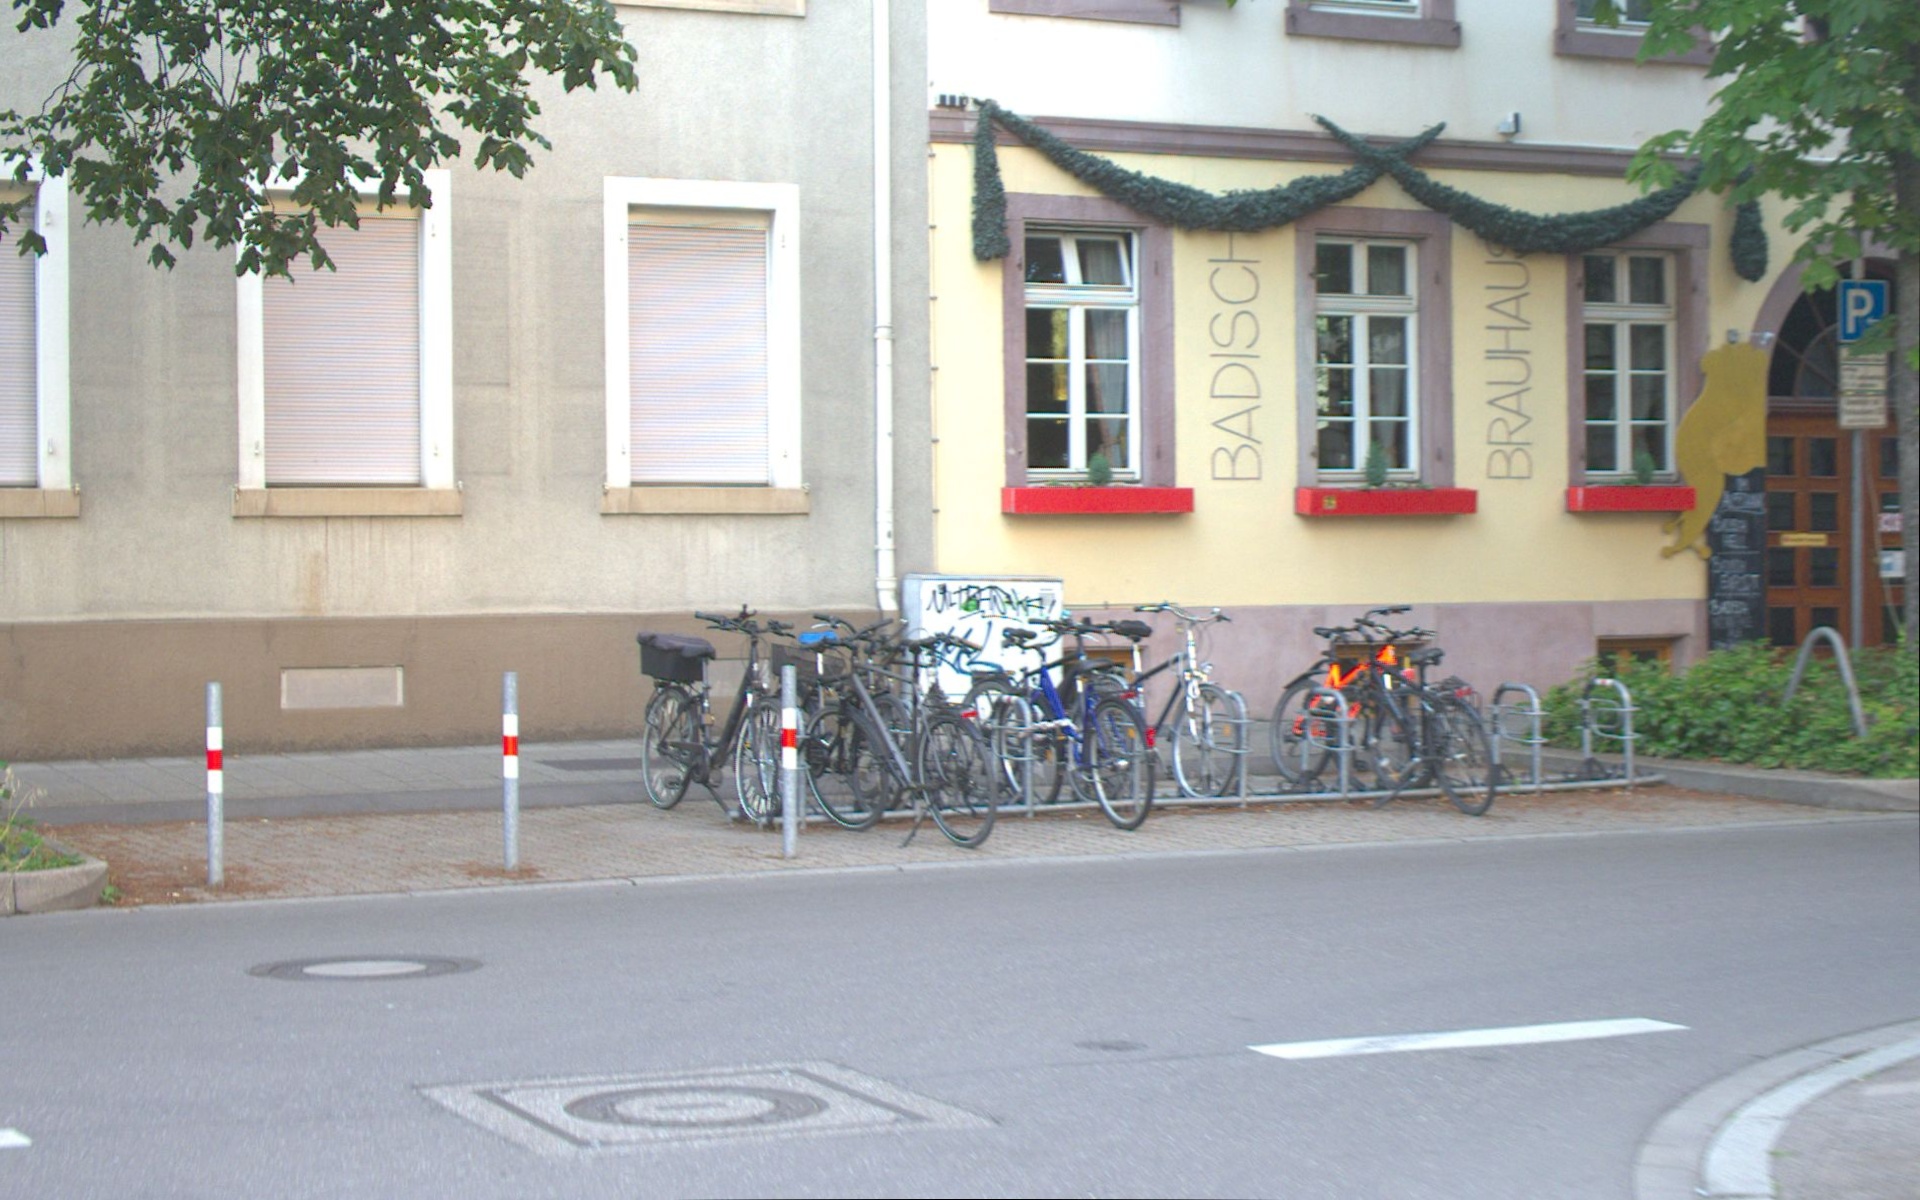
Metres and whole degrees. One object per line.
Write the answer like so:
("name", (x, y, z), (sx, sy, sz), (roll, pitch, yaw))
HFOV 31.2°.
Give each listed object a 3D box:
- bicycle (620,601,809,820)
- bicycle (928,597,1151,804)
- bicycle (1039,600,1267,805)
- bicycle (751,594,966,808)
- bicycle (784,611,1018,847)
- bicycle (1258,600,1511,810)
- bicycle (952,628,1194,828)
("bicycle", (-1.419, 0.596, 19.524), (0.445, 1.141, 2.043), (-1, 1, -22))
("bicycle", (0.450, 0.571, 20.554), (0.420, 1.141, 2.043), (-1, 1, -26))
("bicycle", (1.141, 0.590, 20.800), (0.420, 1.141, 2.043), (-1, 1, -26))
("bicycle", (-0.612, 0.555, 19.939), (0.420, 1.141, 2.043), (-1, 1, -26))
("bicycle", (-0.340, 0.650, 18.266), (0.445, 1.141, 2.043), (-1, 1, -25))
("bicycle", (2.482, 0.590, 20.327), (0.420, 1.141, 2.043), (-1, 1, -26))
("bicycle", (0.603, 0.684, 19.133), (0.420, 1.000, 2.043), (-1, 1, -26))
